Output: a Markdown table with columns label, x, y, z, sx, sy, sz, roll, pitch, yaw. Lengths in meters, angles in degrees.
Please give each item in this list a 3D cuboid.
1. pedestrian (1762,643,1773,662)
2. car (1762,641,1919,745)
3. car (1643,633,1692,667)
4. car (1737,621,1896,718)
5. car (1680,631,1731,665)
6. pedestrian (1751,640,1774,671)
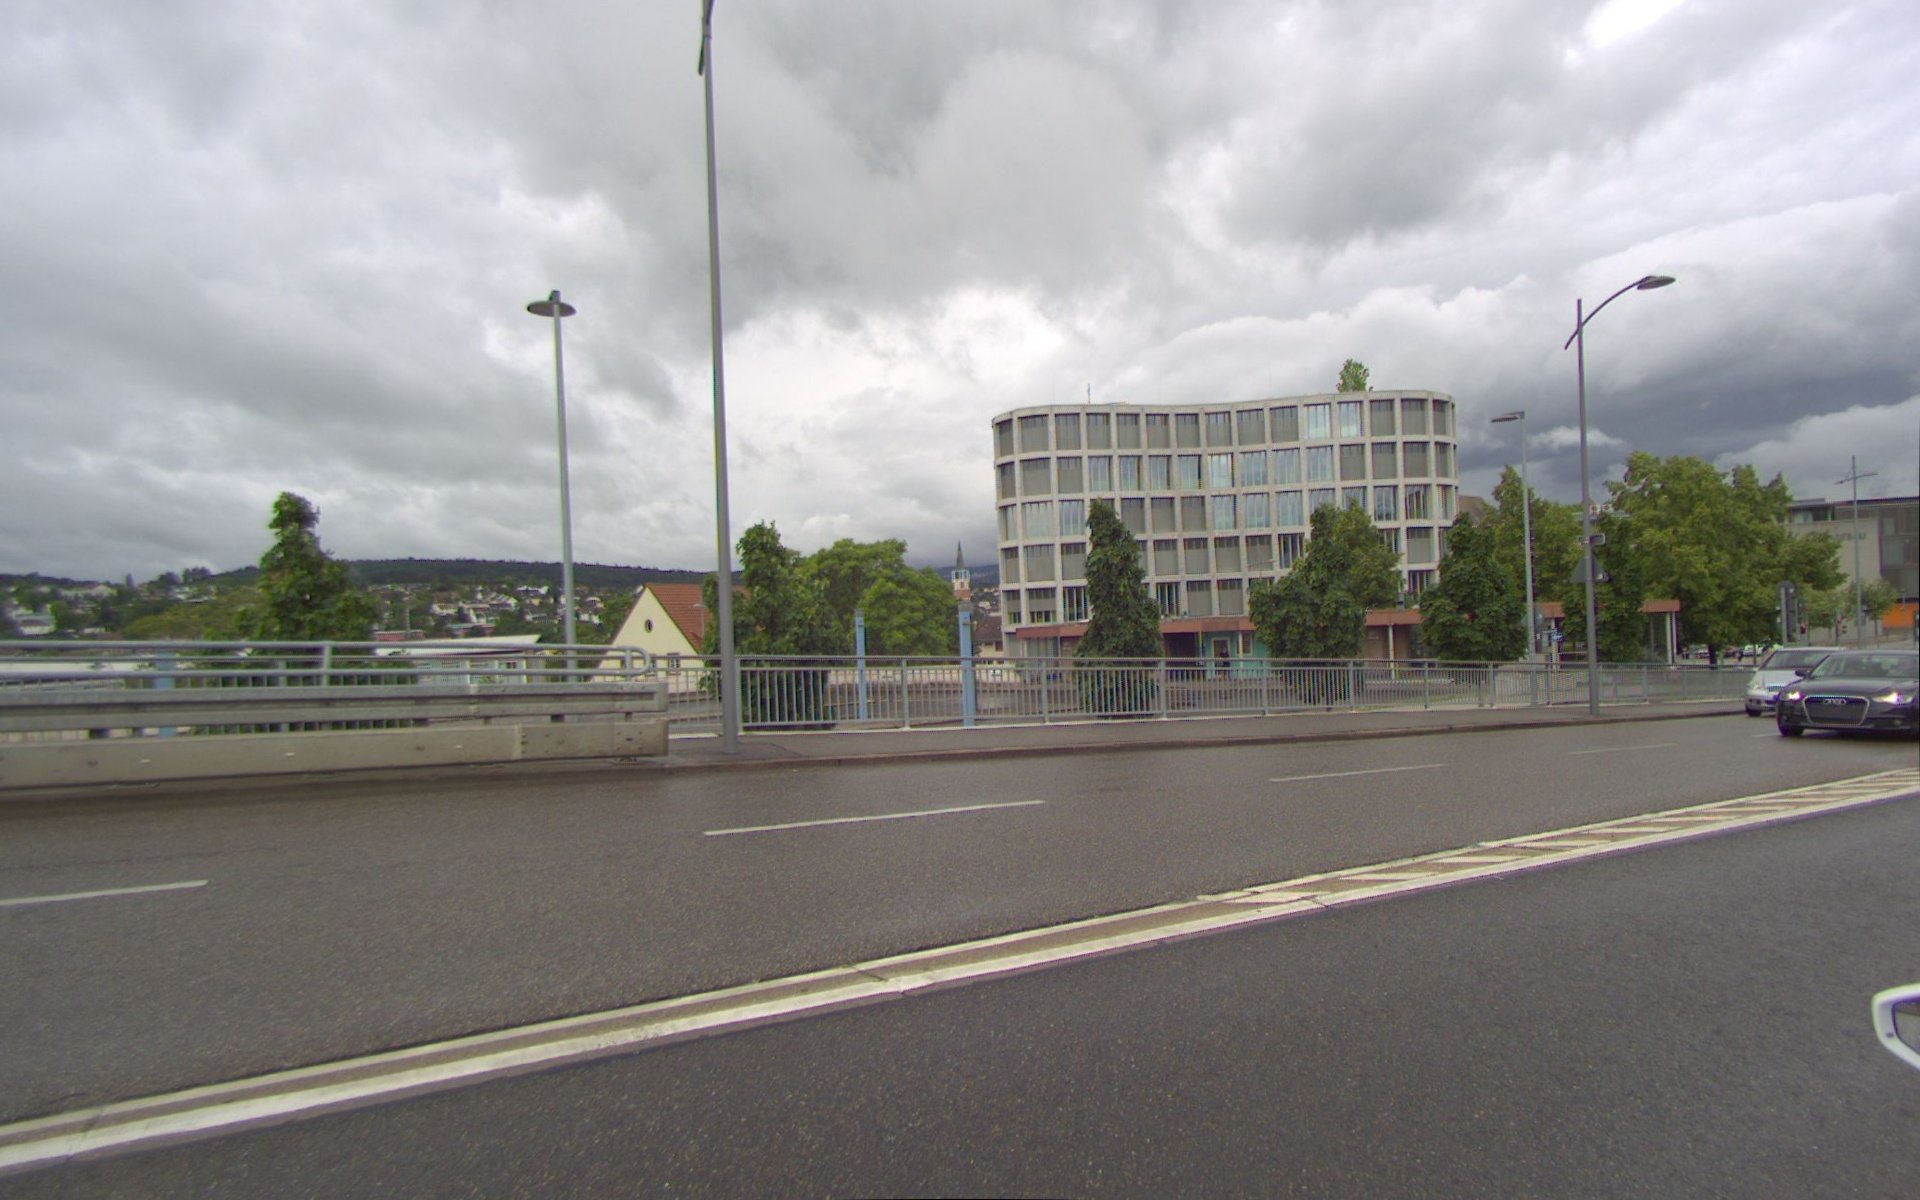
| label | x | y | z | sx | sy | sz | roll | pitch | yaw |
| --- | --- | --- | --- | --- | --- | --- | --- | --- | --- |
| pedestrian | 38.370 | 2.489 | 47.735 | 0.294 | 0.885 | 0.300 | -1 | -1 | -27 |
| car | 15.637 | 1.481 | 17.040 | 4.545 | 1.546 | 1.823 | 1 | -3 | -33 |
| car | 50.758 | 3.561 | 72.129 | 1.962 | 2.041 | 3.997 | 3 | 3 | 23 |
| car | 19.684 | 1.534 | 23.051 | 3.964 | 2.040 | 1.979 | 2 | -3 | -38 |
| car | 52.932 | 3.393 | 71.387 | 1.962 | 2.041 | 3.997 | 3 | 3 | 23 |
| pedestrian | 38.252 | 2.647 | 47.874 | 0.524 | 1.427 | 0.646 | -1 | -1 | -27 |
